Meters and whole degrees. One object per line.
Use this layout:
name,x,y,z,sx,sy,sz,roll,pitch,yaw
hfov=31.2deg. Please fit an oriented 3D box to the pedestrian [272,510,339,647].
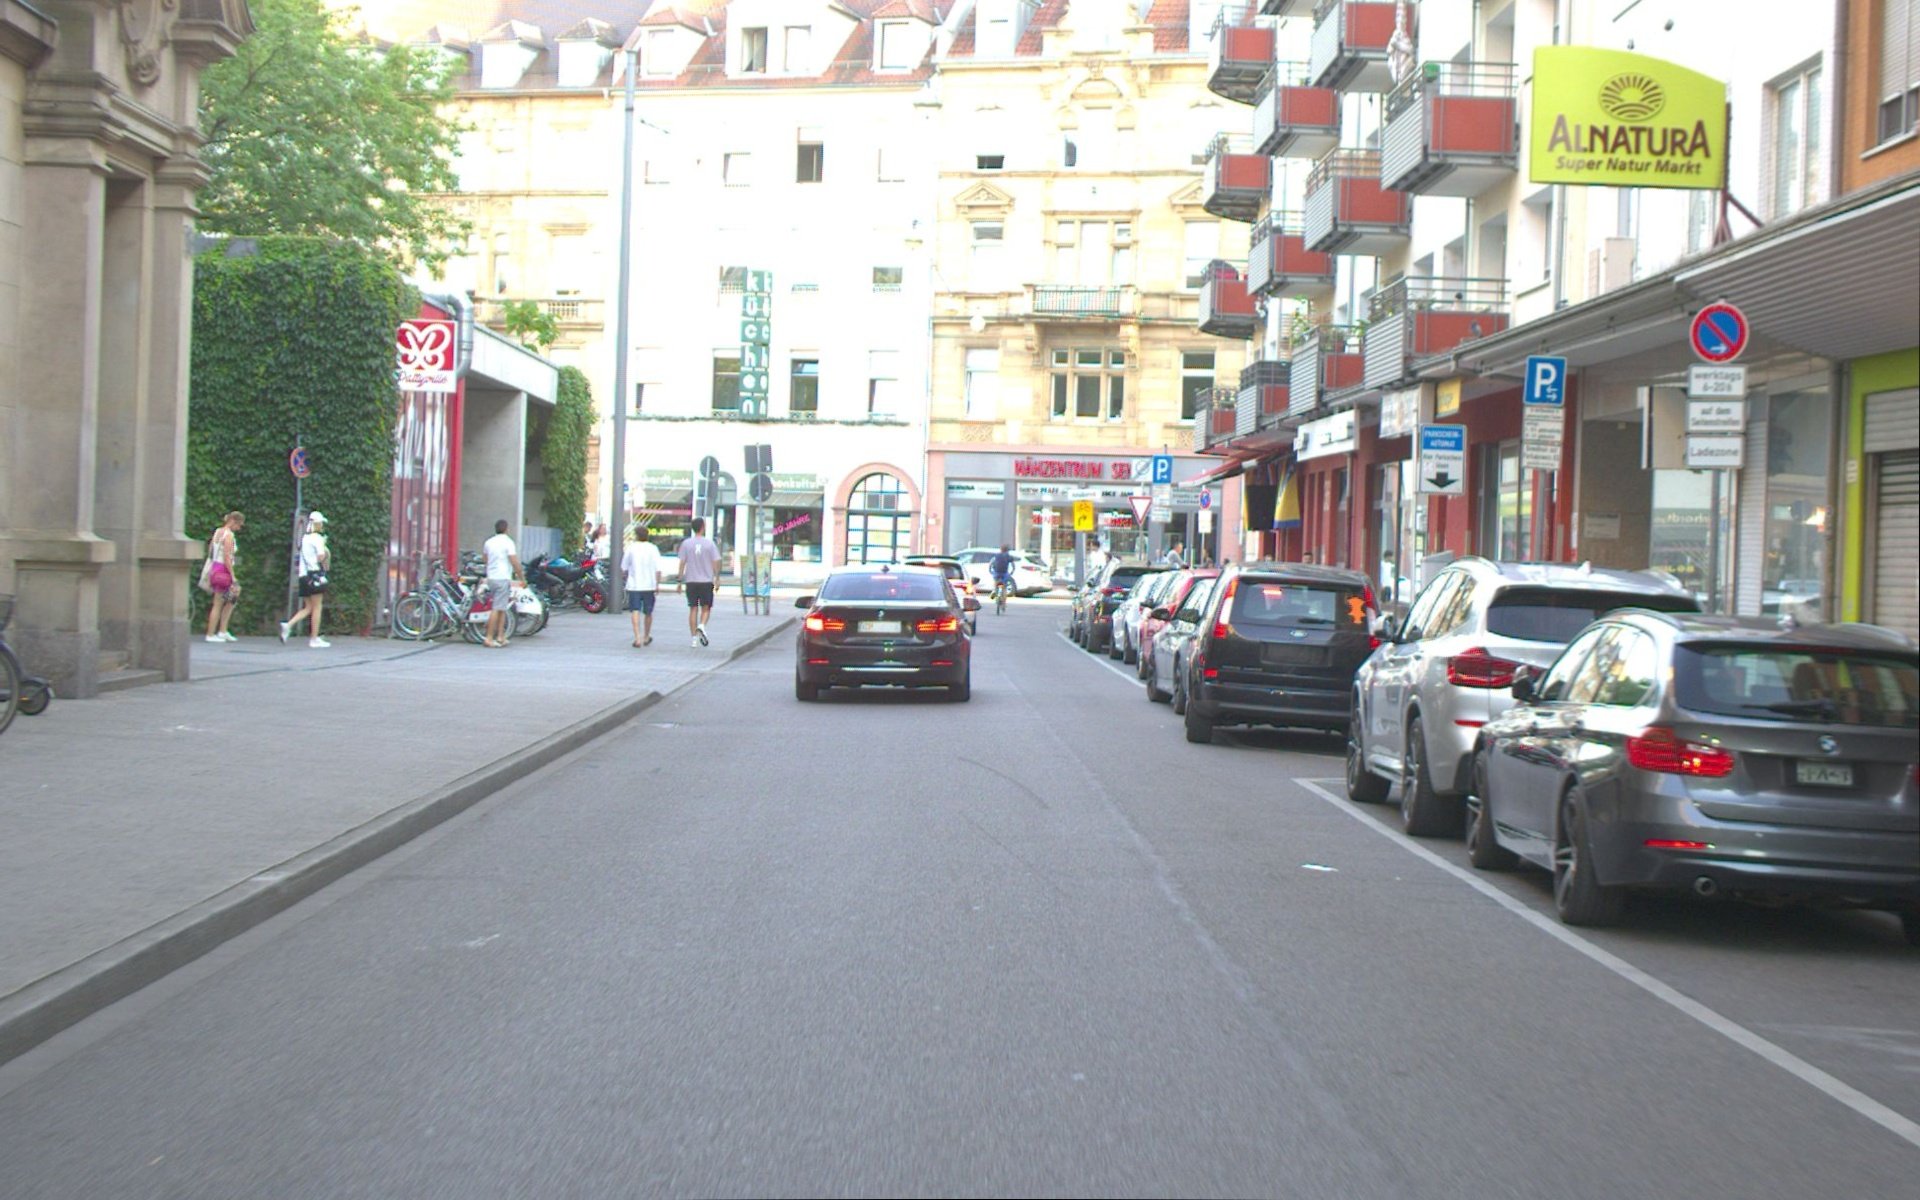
pedestrian,-8.531,-0.282,44.835,0.649,1.744,0.986,2,1,-1

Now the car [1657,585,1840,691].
car,11.085,0.503,48.572,1.740,1.332,4.000,1,1,2

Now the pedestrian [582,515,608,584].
pedestrian,-8.700,-1.199,81.925,0.500,1.637,0.520,1,1,2

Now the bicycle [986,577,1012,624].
bicycle,0.946,-0.001,83.196,0.536,1.104,1.800,2,1,2

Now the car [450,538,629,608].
car,-9.625,-0.618,78.593,3.986,1.496,1.892,1,1,-8

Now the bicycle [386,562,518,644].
bicycle,-7.285,0.043,49.331,1.794,1.104,0.500,2,1,-1

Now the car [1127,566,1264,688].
car,3.291,0.346,48.664,1.606,1.507,4.048,4,1,1

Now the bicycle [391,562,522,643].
bicycle,-7.293,0.036,49.867,1.794,1.104,0.500,2,1,-1

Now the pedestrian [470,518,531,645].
pedestrian,-6.444,-0.267,48.225,0.717,1.748,0.848,2,1,-2

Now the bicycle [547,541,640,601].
bicycle,-7.363,-0.586,69.062,1.794,1.104,0.500,3,1,-5

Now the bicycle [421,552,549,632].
bicycle,-7.118,-0.120,51.506,1.794,1.104,0.500,3,1,3

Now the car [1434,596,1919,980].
car,3.518,0.791,16.675,1.691,1.410,4.756,4,1,0

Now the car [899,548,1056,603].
car,0.526,-0.747,104.483,4.357,1.557,1.866,2,0,22

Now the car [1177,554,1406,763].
car,2.916,0.458,30.888,1.794,1.604,4.486,4,1,4

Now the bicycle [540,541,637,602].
bicycle,-7.378,-0.576,68.313,1.794,1.104,0.500,3,1,2

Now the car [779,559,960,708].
car,-0.910,0.310,36.946,1.765,1.370,4.791,3,1,0

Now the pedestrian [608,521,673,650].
pedestrian,-4.658,-0.216,50.154,0.741,1.806,1.009,4,1,-1

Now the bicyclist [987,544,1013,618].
bicyclist,0.968,-0.465,83.168,0.523,1.750,0.620,2,1,2

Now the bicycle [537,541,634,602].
bicycle,-7.369,-0.562,67.718,1.794,1.104,0.500,3,1,-1

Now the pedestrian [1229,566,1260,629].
pedestrian,6.157,-0.053,74.424,0.606,1.343,0.696,0,1,-1

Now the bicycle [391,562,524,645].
bicycle,-7.153,0.046,48.985,1.794,1.104,0.500,2,1,0

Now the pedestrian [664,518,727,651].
pedestrian,-3.890,-0.237,50.554,0.744,1.887,1.050,3,1,0

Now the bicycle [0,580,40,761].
bicycle,-6.546,0.348,20.564,1.936,1.058,0.620,5,0,-15

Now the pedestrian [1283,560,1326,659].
pedestrian,5.857,0.155,58.513,0.648,1.655,0.794,-1,1,2

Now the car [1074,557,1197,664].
car,3.037,0.144,60.378,1.765,1.636,4.791,4,1,0

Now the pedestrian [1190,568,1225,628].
pedestrian,5.342,-0.042,74.076,0.687,1.282,0.608,0,0,9

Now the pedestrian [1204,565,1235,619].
pedestrian,5.833,-0.174,77.299,0.417,1.197,0.537,-2,1,-43

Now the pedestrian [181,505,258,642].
pedestrian,-9.712,-0.355,45.116,0.753,1.743,0.846,3,1,-1

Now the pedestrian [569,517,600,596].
pedestrian,-9.027,-1.047,82.593,0.583,1.876,0.633,1,1,5

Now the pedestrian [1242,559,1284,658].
pedestrian,5.159,0.139,58.538,0.648,1.655,0.655,-1,1,2

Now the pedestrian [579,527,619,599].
pedestrian,-8.748,-0.900,83.361,0.673,1.740,0.655,2,1,39

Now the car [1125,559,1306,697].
car,3.221,0.319,44.128,1.712,1.507,4.652,4,1,-2

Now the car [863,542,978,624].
car,-0.713,-0.343,65.456,1.878,1.468,4.000,1,1,3

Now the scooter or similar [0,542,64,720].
scooter or similar,-6.973,0.201,24.351,1.132,1.228,0.497,3,1,-12

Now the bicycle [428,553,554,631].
bicycle,-7.107,-0.123,52.138,1.794,1.104,0.500,3,1,3

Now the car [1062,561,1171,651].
car,2.979,0.089,66.270,1.765,1.497,4.791,4,1,0

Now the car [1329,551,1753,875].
car,3.510,0.601,21.642,1.752,1.662,4.756,4,1,0

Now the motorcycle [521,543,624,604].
motorcycle,-7.477,-0.512,66.285,1.803,1.060,0.763,3,1,25

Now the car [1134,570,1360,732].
car,2.953,0.488,36.266,1.736,1.410,4.683,4,1,-2

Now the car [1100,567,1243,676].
car,3.260,0.305,53.842,1.698,1.447,4.459,4,1,-2
